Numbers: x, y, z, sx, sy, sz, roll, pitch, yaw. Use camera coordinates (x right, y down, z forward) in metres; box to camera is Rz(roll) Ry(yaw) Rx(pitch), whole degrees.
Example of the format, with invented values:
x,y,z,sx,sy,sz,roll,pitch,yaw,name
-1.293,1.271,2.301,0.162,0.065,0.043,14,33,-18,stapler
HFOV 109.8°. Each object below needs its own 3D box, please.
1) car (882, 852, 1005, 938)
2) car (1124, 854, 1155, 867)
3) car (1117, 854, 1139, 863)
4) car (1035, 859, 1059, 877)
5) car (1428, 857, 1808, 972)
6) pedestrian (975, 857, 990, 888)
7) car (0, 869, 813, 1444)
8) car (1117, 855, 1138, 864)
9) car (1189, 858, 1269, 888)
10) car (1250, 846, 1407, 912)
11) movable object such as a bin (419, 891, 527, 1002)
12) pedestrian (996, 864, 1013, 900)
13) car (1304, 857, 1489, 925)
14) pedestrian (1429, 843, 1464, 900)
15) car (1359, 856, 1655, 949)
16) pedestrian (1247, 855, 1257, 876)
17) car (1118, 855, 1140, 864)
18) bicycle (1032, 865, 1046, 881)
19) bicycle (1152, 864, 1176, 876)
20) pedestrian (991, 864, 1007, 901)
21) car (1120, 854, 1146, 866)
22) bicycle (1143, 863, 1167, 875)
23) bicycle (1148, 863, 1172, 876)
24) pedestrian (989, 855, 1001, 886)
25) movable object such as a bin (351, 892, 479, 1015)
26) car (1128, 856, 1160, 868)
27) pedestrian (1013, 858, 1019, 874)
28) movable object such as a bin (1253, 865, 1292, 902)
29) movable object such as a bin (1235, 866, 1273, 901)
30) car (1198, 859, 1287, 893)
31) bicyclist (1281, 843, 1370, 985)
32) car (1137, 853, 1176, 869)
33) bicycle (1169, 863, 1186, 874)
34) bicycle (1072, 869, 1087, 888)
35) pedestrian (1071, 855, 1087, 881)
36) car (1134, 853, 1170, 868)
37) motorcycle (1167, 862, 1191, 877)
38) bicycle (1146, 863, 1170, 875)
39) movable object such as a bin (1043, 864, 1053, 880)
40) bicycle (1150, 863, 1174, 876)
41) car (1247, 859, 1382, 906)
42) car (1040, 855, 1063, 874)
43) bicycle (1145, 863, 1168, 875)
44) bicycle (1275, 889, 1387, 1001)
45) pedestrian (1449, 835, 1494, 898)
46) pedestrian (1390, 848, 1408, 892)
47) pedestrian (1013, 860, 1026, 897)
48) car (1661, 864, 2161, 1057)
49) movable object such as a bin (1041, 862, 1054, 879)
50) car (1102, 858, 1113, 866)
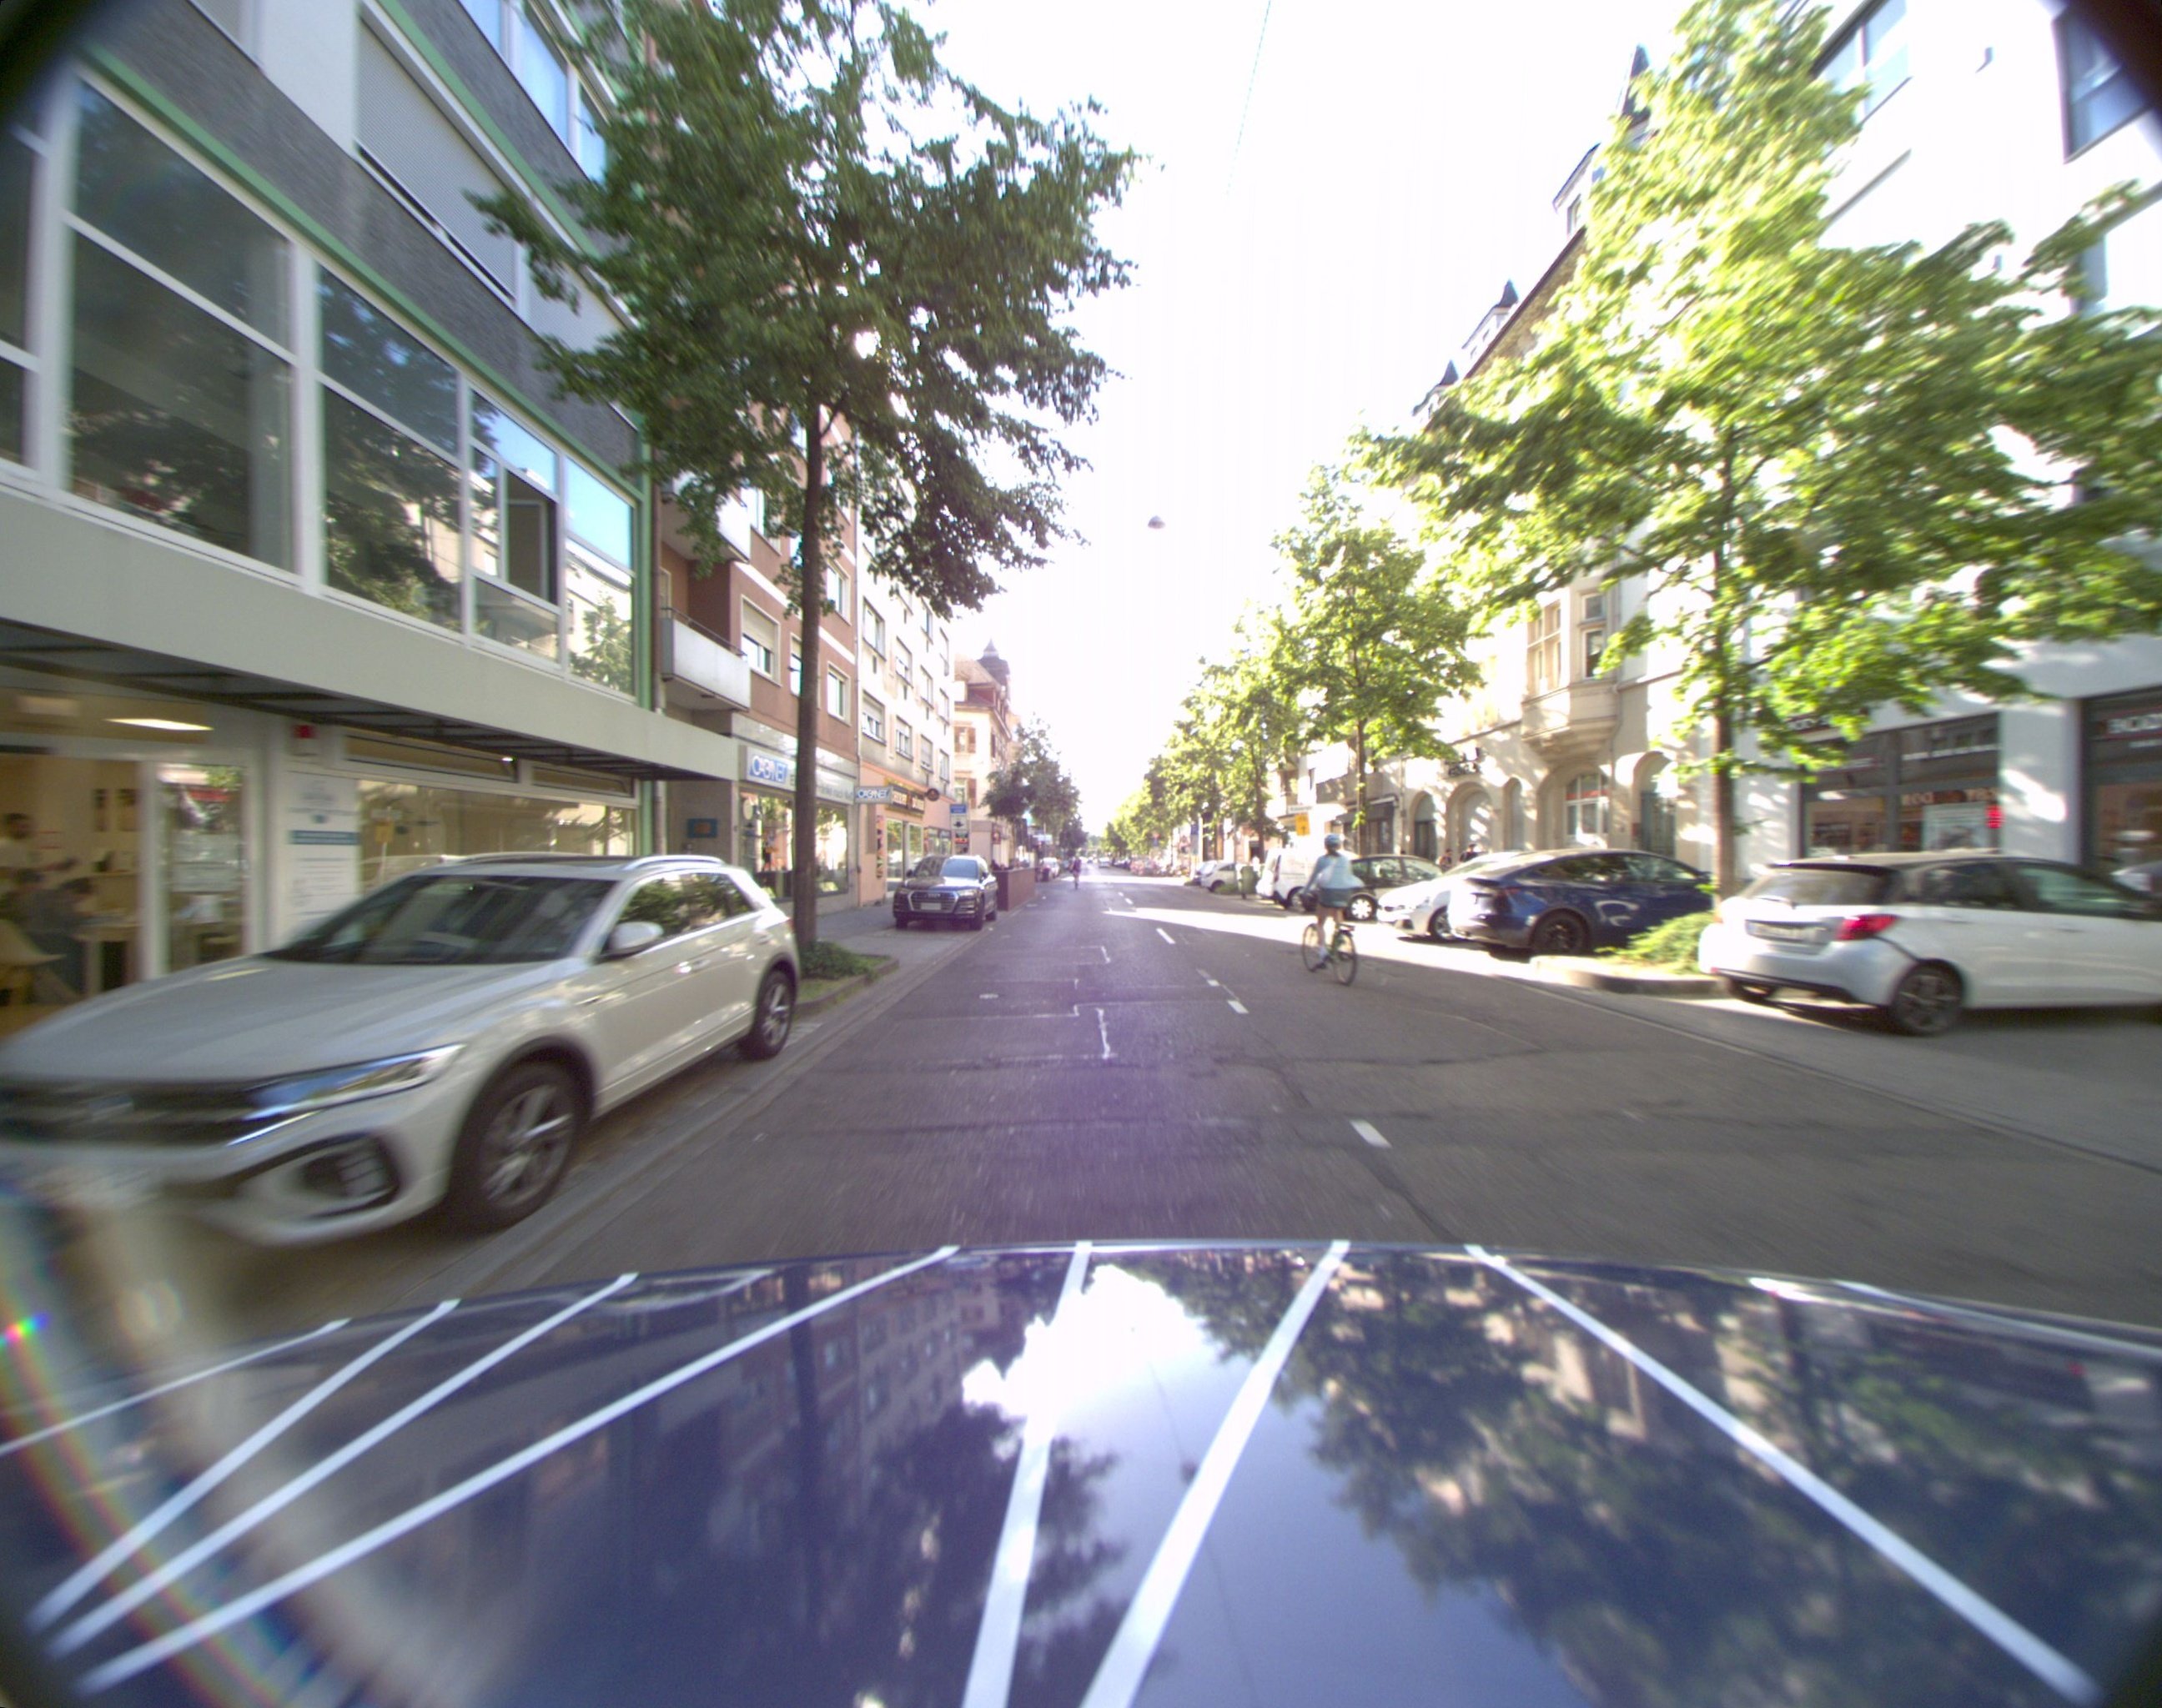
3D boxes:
x,y,z,sx,sy,sz,roll,pitch,yaw,name
-3.043,0.851,17.834,1.999,1.680,4.516,3,0,0,car
8.210,0.925,106.541,4.134,1.792,1.911,-1,0,-1,car
9.076,0.903,147.568,4.134,1.792,1.911,-1,0,-1,car
-2.886,1.181,64.559,1.835,1.410,4.159,1,0,0,car
7.938,0.854,11.594,4.377,1.561,1.980,-1,0,1,car
-5.235,0.978,40.393,0.643,1.635,0.748,1,0,-1,pedestrian
-3.226,0.909,4.282,1.888,1.518,4.234,2,0,0,car
9.438,1.078,155.810,4.134,1.792,1.911,-1,0,-1,car
8.051,1.022,41.590,4.008,1.456,1.748,-2,2,0,car
7.418,0.746,23.111,4.115,1.825,2.039,-1,0,1,car
-6.163,0.920,7.724,0.615,1.058,0.589,0,0,2,movable object such as a bin
-2.917,1.067,29.159,0.553,1.371,0.594,-1,1,1,pedestrian
7.686,0.882,18.781,3.809,1.549,1.792,-1,0,1,car
10.768,0.498,22.413,0.566,1.617,0.727,-5,1,-1,pedestrian
7.698,0.846,14.077,4.377,1.561,1.946,-1,0,1,car
14.378,0.962,63.900,0.630,1.716,0.580,0,0,-3,pedestrian
9.135,1.044,144.859,4.134,1.792,1.911,-1,0,-1,car
-3.049,1.380,55.300,0.379,1.139,1.670,1,1,-24,bicycle
7.138,1.382,65.555,2.006,1.023,0.473,-2,0,-12,bicycle
-3.043,1.053,28.166,0.474,1.354,0.594,-1,1,1,pedestrian
8.515,0.987,124.087,4.134,1.792,1.911,-1,0,-1,car
6.614,1.339,67.963,2.006,1.023,0.473,-2,0,-12,bicycle
6.914,1.354,66.566,2.006,1.023,0.473,-2,0,-12,bicycle
-4.560,0.882,40.394,0.515,1.635,0.748,1,0,-1,pedestrian
-6.179,0.899,7.080,0.615,1.058,0.655,0,0,2,movable object such as a bin
8.405,1.061,101.418,4.134,1.584,1.911,-1,0,-1,car
-6.050,1.138,70.691,0.460,1.434,0.521,-1,1,-1,pedestrian
7.162,1.102,28.471,1.195,1.337,0.932,-1,0,0,movable object such as a bin
6.693,1.125,29.426,1.240,1.295,0.870,0,0,0,movable object such as a bin
7.557,1.022,35.855,3.788,1.455,1.710,-1,0,-2,car
3.078,0.718,9.666,0.727,1.690,1.282,0,0,1,bicyclist
8.482,0.790,85.239,4.134,1.670,2.000,-1,0,-1,car
8.437,1.292,66.788,1.513,0.945,0.360,-2,0,41,bicycle
-0.102,1.334,41.841,0.805,0.958,1.996,-2,-1,-1,bicycle
-0.124,0.776,41.880,0.804,1.381,0.931,-2,0,-1,pedestrian
8.439,0.774,90.818,4.134,1.670,2.000,-1,0,-1,car
8.348,1.310,64.811,2.003,1.178,0.740,-1,0,3,motorcycle
6.819,1.340,67.063,2.006,1.023,0.473,-2,0,-12,bicycle
-2.411,1.315,55.564,0.634,1.062,0.602,1,2,2,movable object such as a bin
7.055,1.358,66.087,2.006,1.023,0.473,-2,0,-12,bicycle
7.881,0.945,25.913,3.989,1.455,1.887,-1,0,1,car
-2.629,0.949,69.391,1.835,1.641,4.159,1,0,1,car
6.724,1.339,67.486,2.006,1.023,0.473,-2,0,-12,bicycle
3.082,1.072,9.610,0.727,1.162,2.197,0,0,1,bicycle
11.508,0.369,22.413,0.776,1.756,0.763,-5,1,-2,pedestrian
12.225,0.623,29.234,0.434,1.662,0.639,-1,1,3,pedestrian
-2.605,1.039,32.017,0.474,1.520,0.462,-1,1,1,pedestrian
8.264,0.856,7.092,4.257,1.450,1.980,-1,0,-3,car
-2.494,1.253,56.974,0.944,1.207,0.699,1,1,1,movable object such as a bin
4.724,1.436,134.084,1.835,1.410,3.833,0,0,1,car
